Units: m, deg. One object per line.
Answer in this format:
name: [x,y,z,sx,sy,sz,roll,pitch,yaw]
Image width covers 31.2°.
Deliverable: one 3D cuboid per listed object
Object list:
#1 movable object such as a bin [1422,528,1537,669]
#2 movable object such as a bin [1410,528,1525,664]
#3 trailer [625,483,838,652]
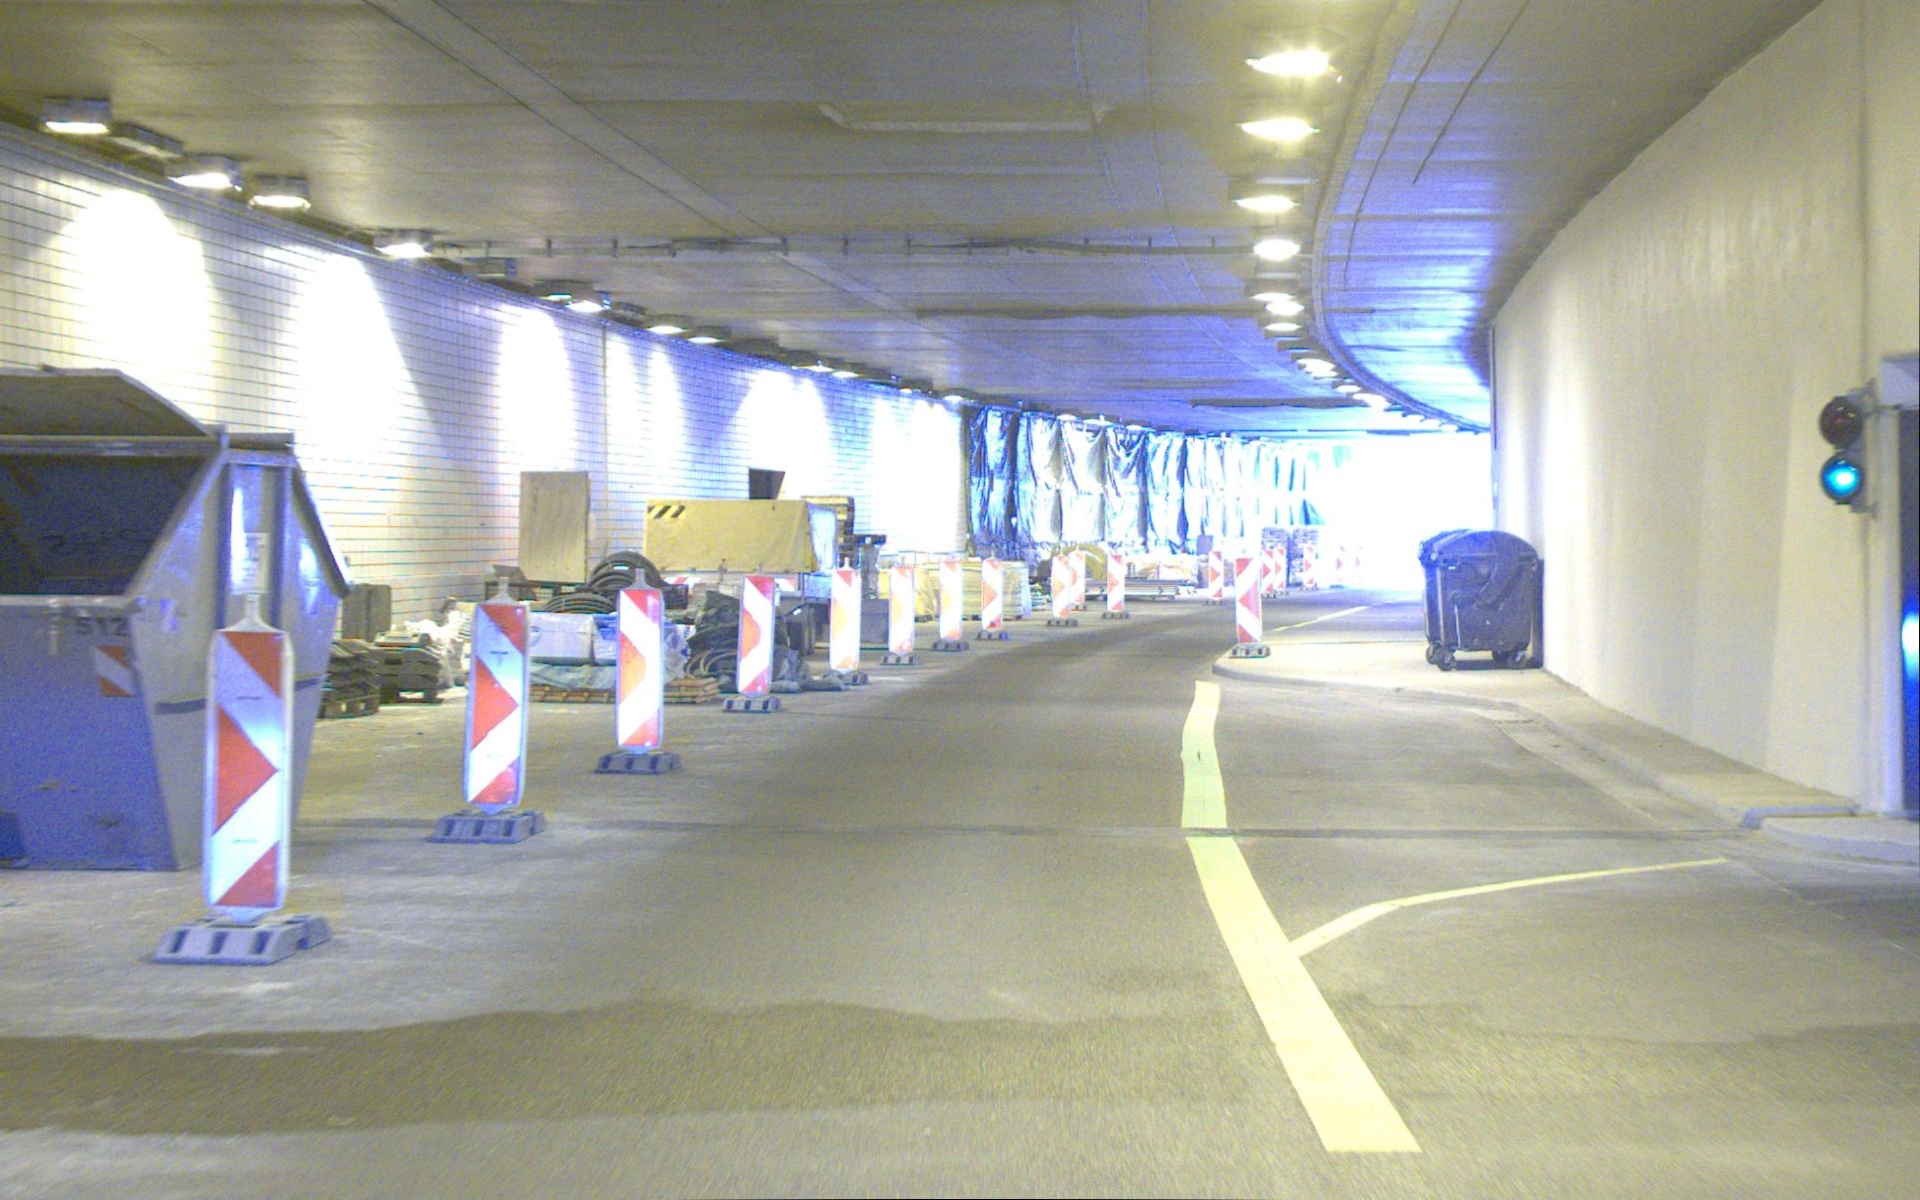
movable object such as a bin: [5.419,-0.021,35.935,1.098,1.440,1.322,1,0,5]
movable object such as a bin: [5.506,-0.047,37.350,1.146,1.440,1.363,1,0,5]
trailer: [-2.809,-0.408,42.995,2.208,2.007,3.466,1,1,4]
